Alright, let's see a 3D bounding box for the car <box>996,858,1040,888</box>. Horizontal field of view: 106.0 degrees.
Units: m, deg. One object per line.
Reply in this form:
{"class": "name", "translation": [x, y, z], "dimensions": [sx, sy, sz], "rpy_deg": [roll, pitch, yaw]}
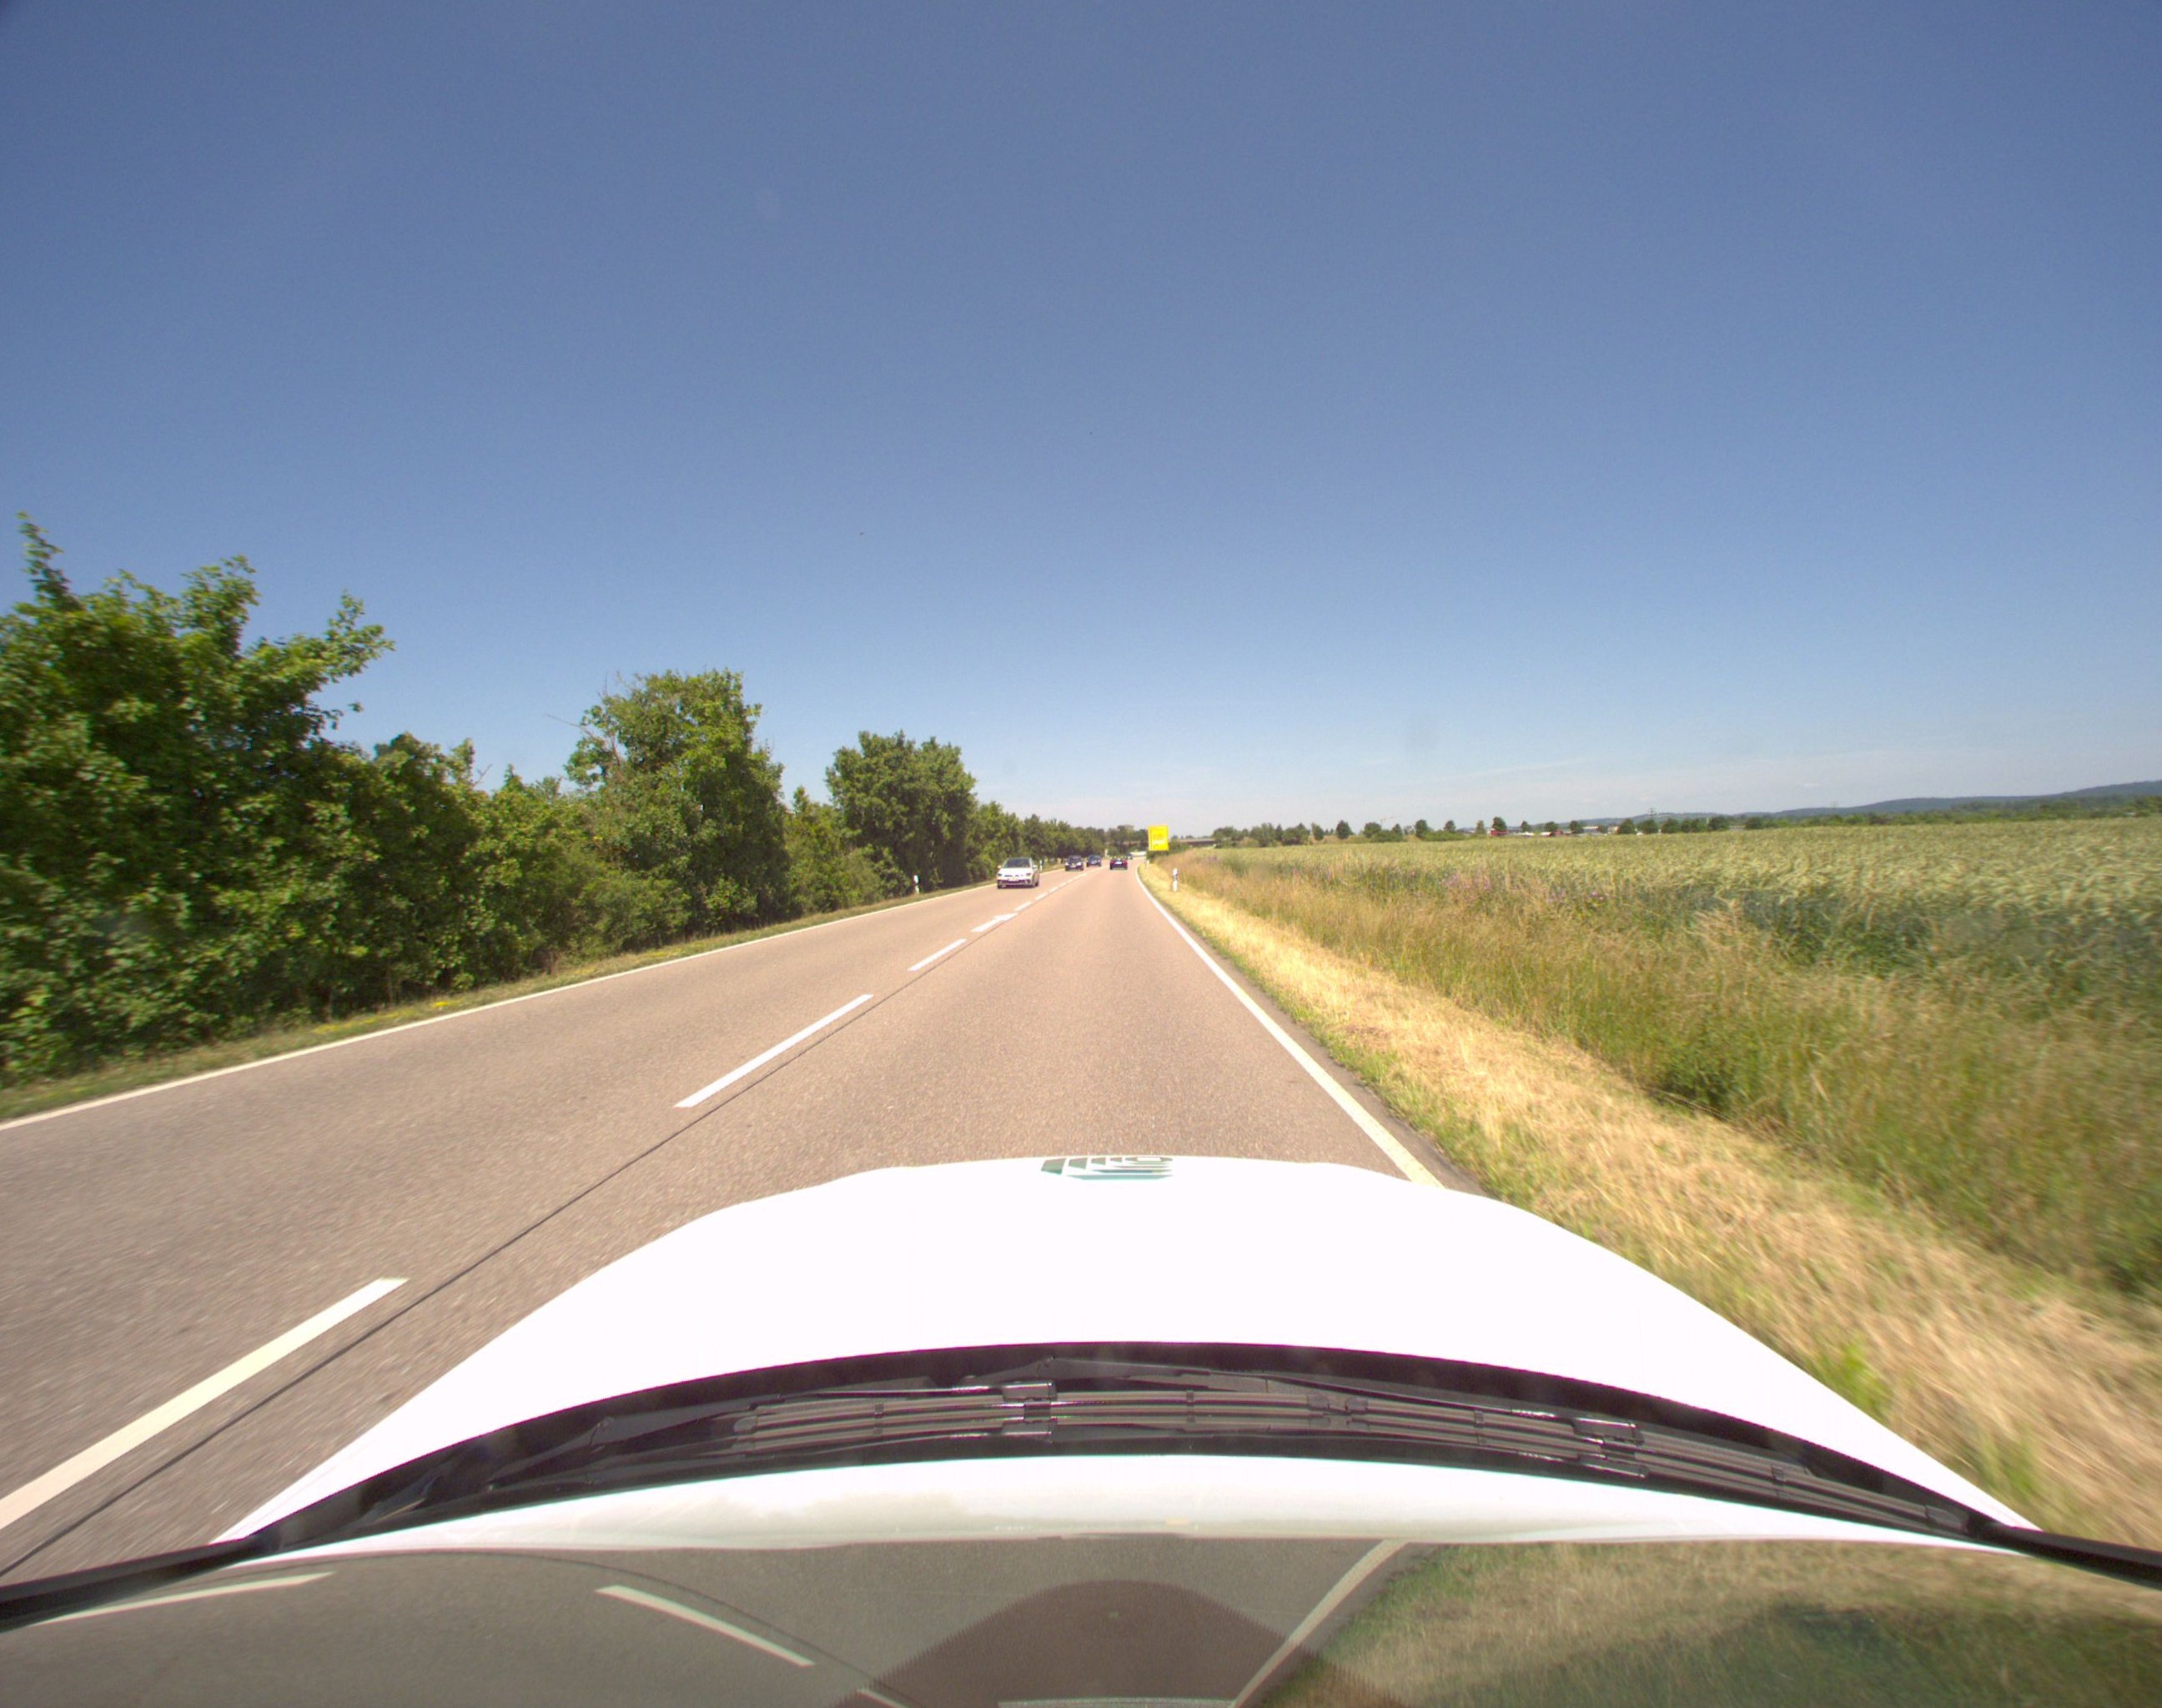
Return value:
{"class": "car", "translation": [-3.004, 0.894, 39.719], "dimensions": [1.700, 1.381, 3.821], "rpy_deg": [-1, 0, 2]}

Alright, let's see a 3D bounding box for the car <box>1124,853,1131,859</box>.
{"class": "car", "translation": [11.429, 0.490, 199.948], "dimensions": [1.773, 1.420, 4.539], "rpy_deg": [-1, 0, 4]}

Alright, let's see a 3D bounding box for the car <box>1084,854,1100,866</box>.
{"class": "car", "translation": [1.381, 0.779, 100.775], "dimensions": [1.645, 1.407, 4.005], "rpy_deg": [-1, 0, 5]}

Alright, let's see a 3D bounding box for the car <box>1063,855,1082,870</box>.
{"class": "car", "translation": [-0.782, 0.809, 78.421], "dimensions": [1.591, 1.442, 4.002], "rpy_deg": [-1, 0, 2]}

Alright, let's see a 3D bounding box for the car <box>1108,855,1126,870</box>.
{"class": "car", "translation": [3.646, 0.813, 82.079], "dimensions": [1.806, 1.441, 4.004], "rpy_deg": [0, 0, 3]}
